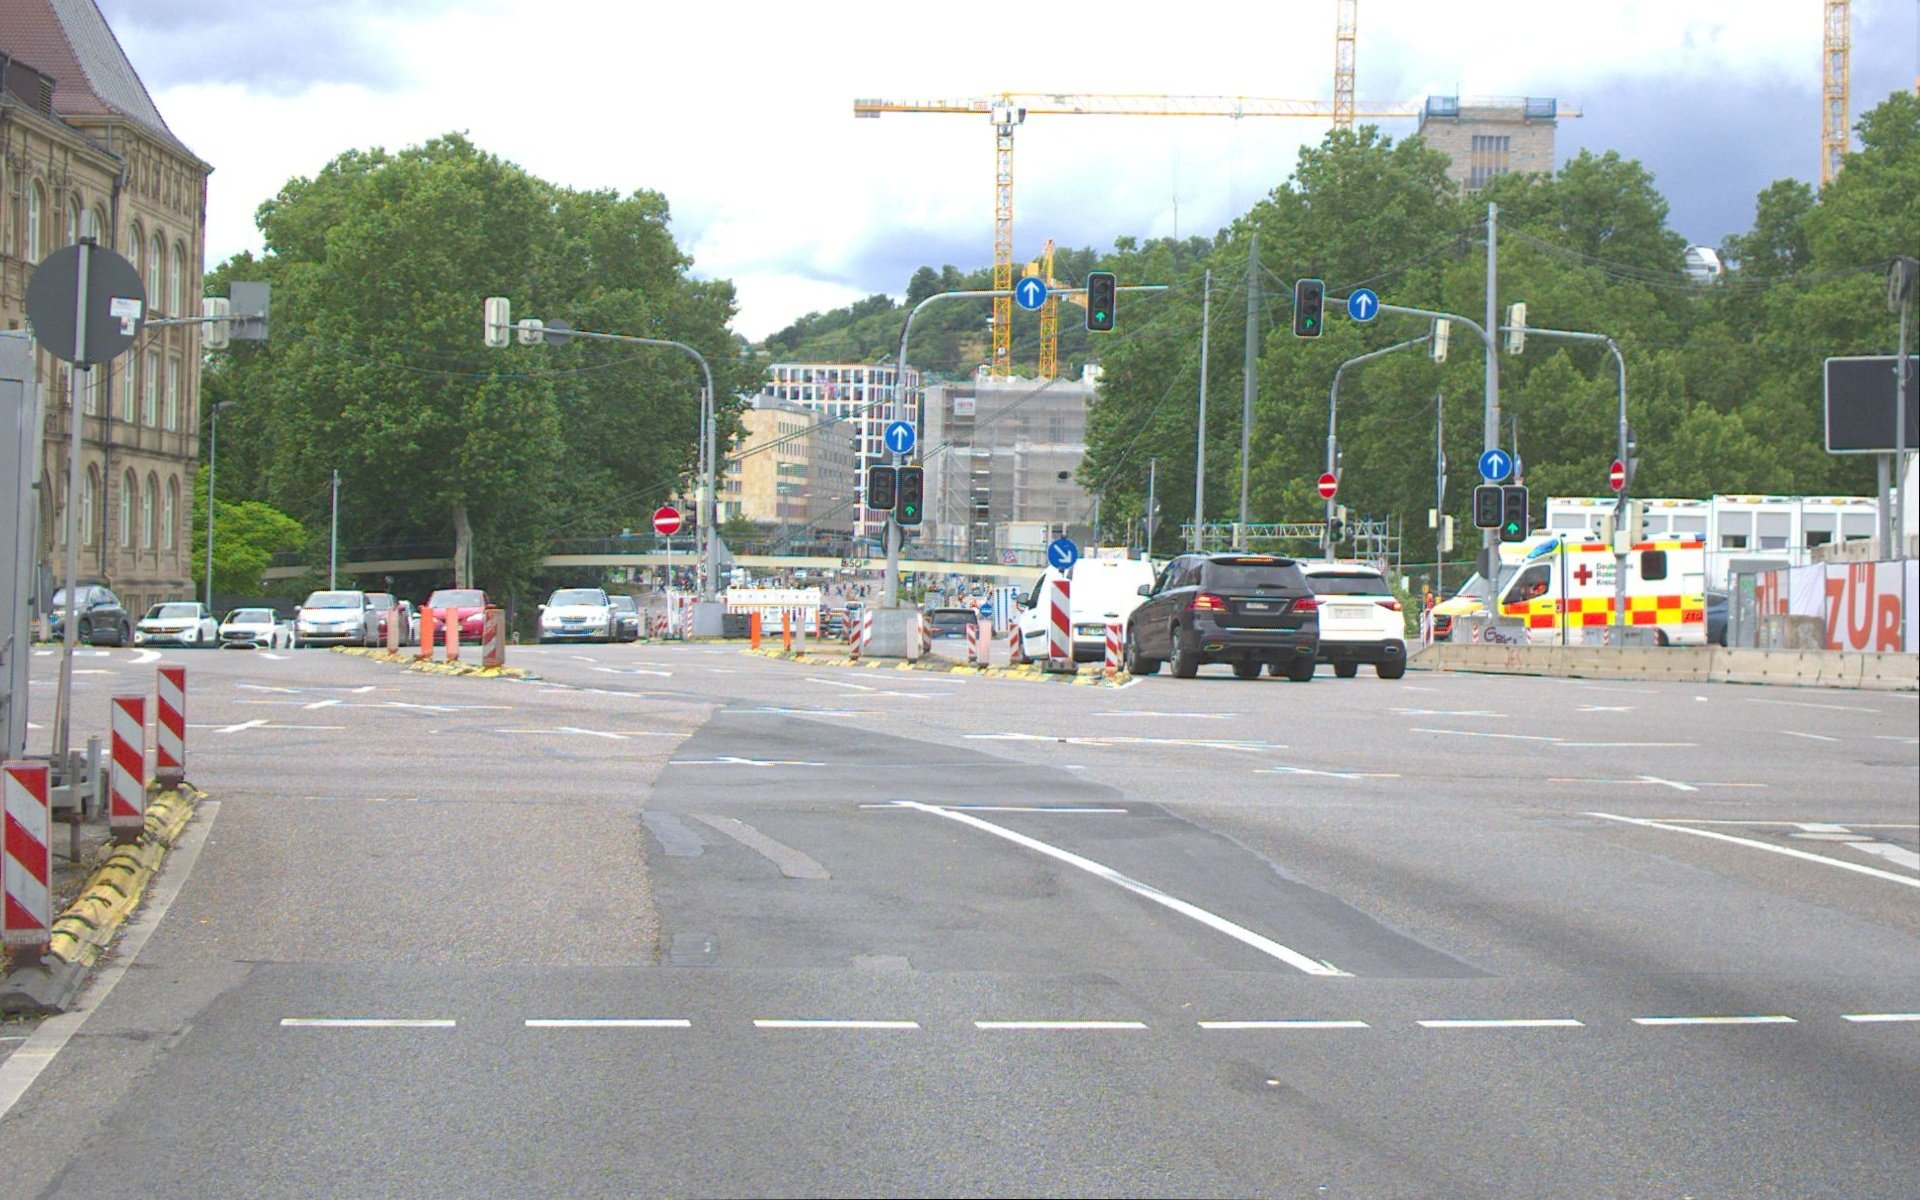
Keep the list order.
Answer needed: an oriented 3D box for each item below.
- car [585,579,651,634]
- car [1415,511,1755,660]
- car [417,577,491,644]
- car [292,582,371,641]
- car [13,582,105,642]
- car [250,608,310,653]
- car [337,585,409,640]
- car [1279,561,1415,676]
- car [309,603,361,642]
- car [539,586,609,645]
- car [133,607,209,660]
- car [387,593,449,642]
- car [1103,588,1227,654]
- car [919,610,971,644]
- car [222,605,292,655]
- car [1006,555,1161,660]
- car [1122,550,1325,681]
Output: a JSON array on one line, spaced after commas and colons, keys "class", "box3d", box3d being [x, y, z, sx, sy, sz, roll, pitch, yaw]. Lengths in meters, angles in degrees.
[{"class": "car", "box3d": [-9.203, 0.155, 92.333, 1.675, 1.393, 3.684, 1, 1, -7]}, {"class": "car", "box3d": [13.259, -0.299, 72.964, 6.735, 3.041, 2.373, 1, 0, -18]}, {"class": "car", "box3d": [-12.446, 0.243, 84.731, 1.675, 1.575, 3.684, 1, 1, -7]}, {"class": "car", "box3d": [-15.641, 0.280, 85.641, 1.675, 1.393, 3.684, 1, 1, -7]}, {"class": "car", "box3d": [-22.156, 0.279, 84.595, 1.675, 1.393, 3.684, 1, 1, -7]}, {"class": "car", "box3d": [-22.902, 1.018, 115.798, 1.675, 1.393, 3.684, 1, 1, -7]}, {"class": "car", "box3d": [-15.661, 0.318, 91.802, 1.675, 1.393, 3.684, 1, 1, -7]}, {"class": "car", "box3d": [5.987, 0.263, 53.438, 1.676, 1.696, 3.374, 1, 1, -1]}, {"class": "car", "box3d": [-23.460, 0.847, 129.215, 1.675, 1.393, 3.684, 1, 1, -7]}, {"class": "car", "box3d": [-9.555, 0.372, 85.038, 1.675, 1.393, 3.684, 1, 1, -7]}, {"class": "car", "box3d": [-22.140, 0.919, 96.596, 1.675, 1.393, 3.684, 1, 1, -7]}, {"class": "car", "box3d": [-16.141, 0.509, 102.457, 1.675, 1.393, 3.684, 1, 1, -7]}, {"class": "car", "box3d": [4.508, 0.448, 76.002, 1.675, 1.393, 3.087, 1, 1, -19]}, {"class": "car", "box3d": [-0.534, 0.950, 120.921, 1.308, 1.071, 3.684, 1, 1, -8]}, {"class": "car", "box3d": [-22.088, 0.920, 108.105, 1.676, 1.393, 3.684, 2, 1, -5]}, {"class": "car", "box3d": [1.956, 0.099, 55.540, 1.816, 1.619, 4.001, 1, 1, -8]}, {"class": "car", "box3d": [3.666, 0.184, 48.494, 1.831, 1.740, 4.257, 1, 1, -10]}]
